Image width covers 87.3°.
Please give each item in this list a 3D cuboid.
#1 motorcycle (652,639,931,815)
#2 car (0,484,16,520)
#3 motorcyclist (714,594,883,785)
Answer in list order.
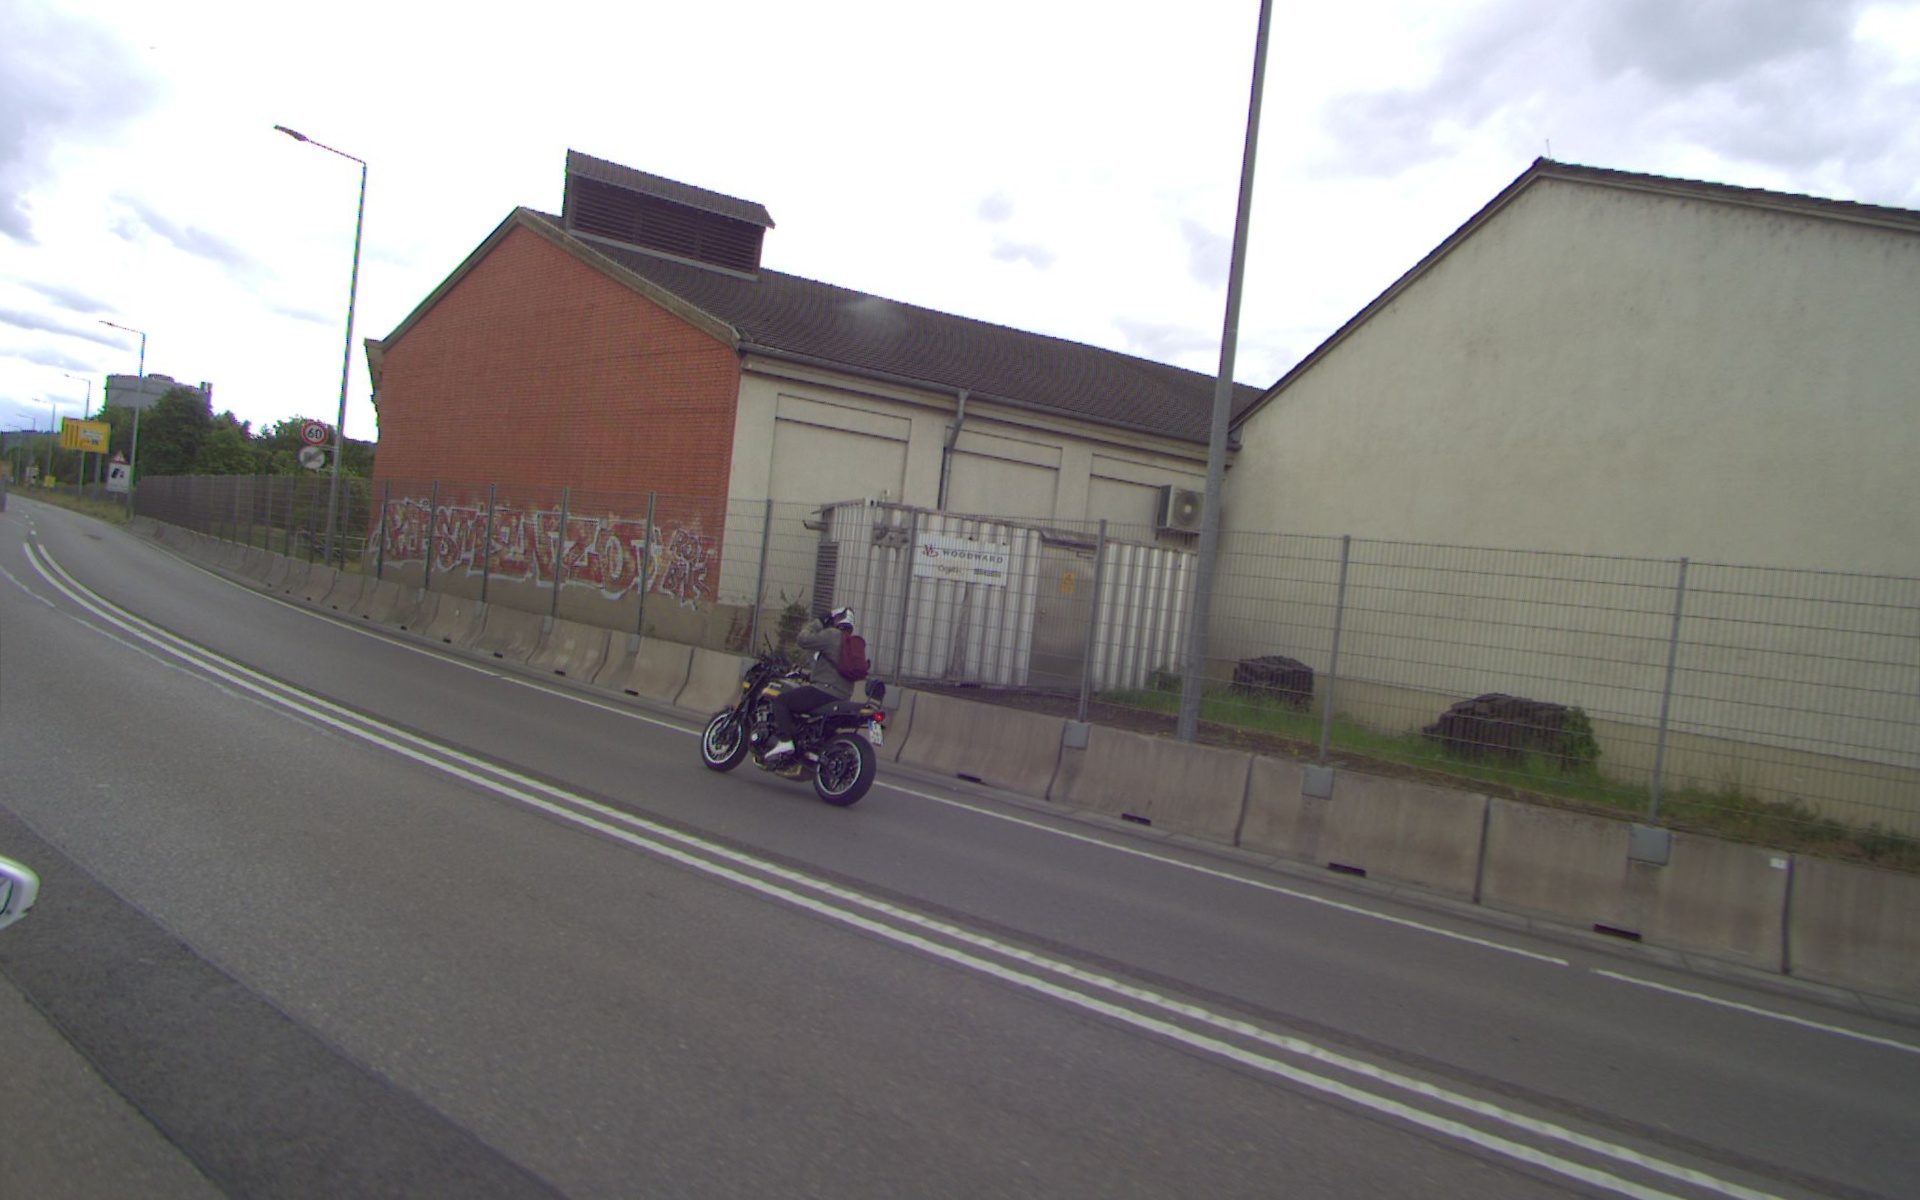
[{"bbox_3d":[-1.570,1.059,8.992,2.623,1.097,0.743,6,0,36],"label":"motorcycle"},{"bbox_3d":[-54.091,-5.573,55.908,3.945,1.883,1.990,6,0,42],"label":"car"},{"bbox_3d":[-1.422,0.771,8.901,0.952,1.495,0.913,7,0,35],"label":"motorcyclist"}]
